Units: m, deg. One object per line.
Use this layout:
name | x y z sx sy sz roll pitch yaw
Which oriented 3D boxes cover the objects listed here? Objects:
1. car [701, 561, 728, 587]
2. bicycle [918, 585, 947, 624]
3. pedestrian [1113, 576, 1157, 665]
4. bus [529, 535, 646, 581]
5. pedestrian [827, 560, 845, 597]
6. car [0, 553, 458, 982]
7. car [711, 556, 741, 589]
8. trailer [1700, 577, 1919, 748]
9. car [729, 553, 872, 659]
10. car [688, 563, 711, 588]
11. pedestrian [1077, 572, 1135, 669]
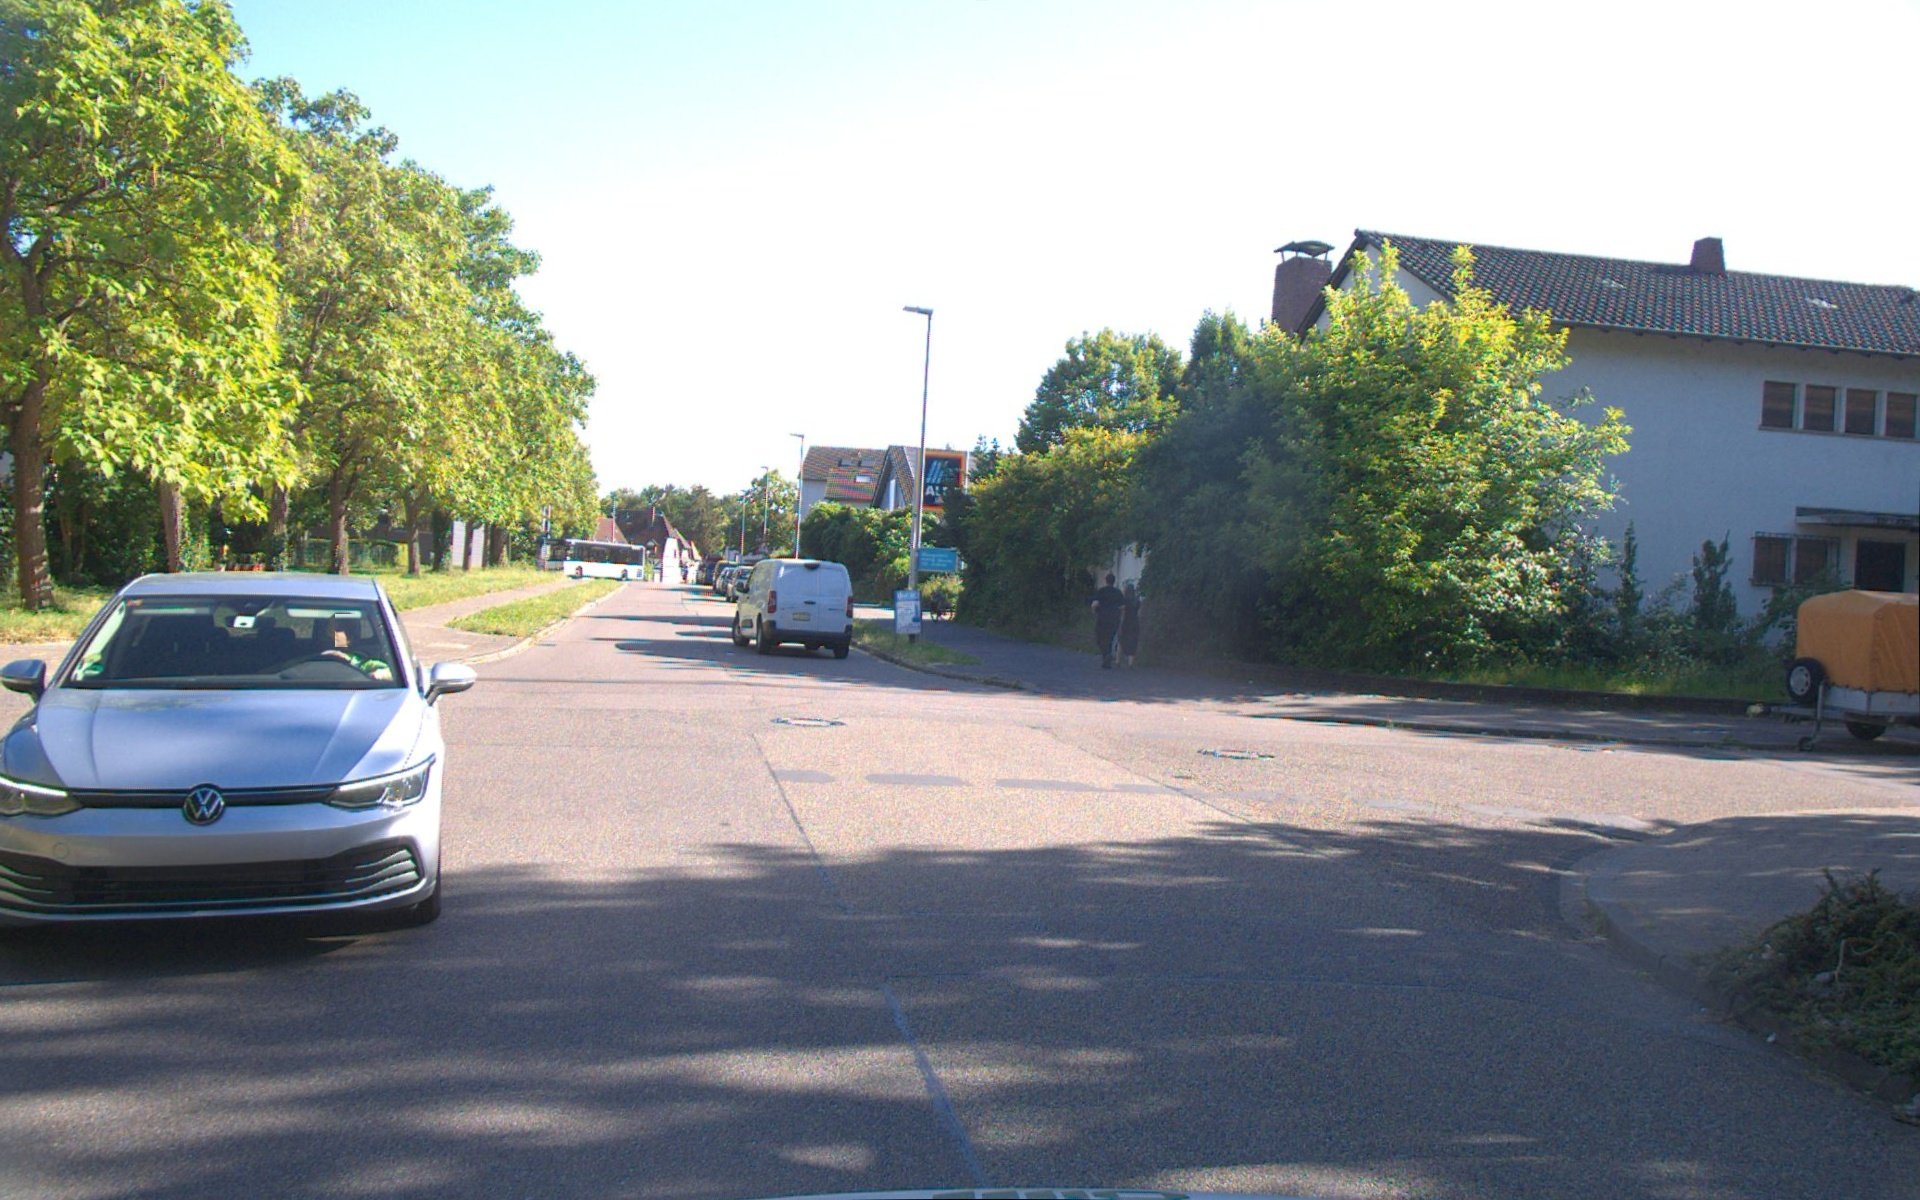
car | -19.050 -2.021 128.213 1.772 1.816 3.989 5 -1 -11
bicycle | -0.874 0.146 53.184 0.705 1.242 1.897 1 0 6
pedestrian | 3.247 0.379 30.775 0.563 1.637 0.790 1 -1 -14
bus | -26.763 -2.956 119.449 2.975 2.873 10.594 3 1 19
pedestrian | -6.230 -1.068 83.051 0.782 1.812 0.808 3 1 -2
car | -3.378 0.591 7.962 1.636 1.492 4.165 1 0 -19
car | -14.427 -1.678 101.906 1.692 1.869 3.992 3 0 -9
trailer | 12.735 0.862 23.004 3.988 2.156 1.974 2 2 -11
car | -3.284 0.068 33.218 1.962 1.914 4.268 3 0 -17
car | -24.201 -2.286 153.723 1.772 2.104 3.989 5 -1 -11
pedestrian | 2.679 0.368 30.416 0.790 1.747 0.980 1 -1 -14
